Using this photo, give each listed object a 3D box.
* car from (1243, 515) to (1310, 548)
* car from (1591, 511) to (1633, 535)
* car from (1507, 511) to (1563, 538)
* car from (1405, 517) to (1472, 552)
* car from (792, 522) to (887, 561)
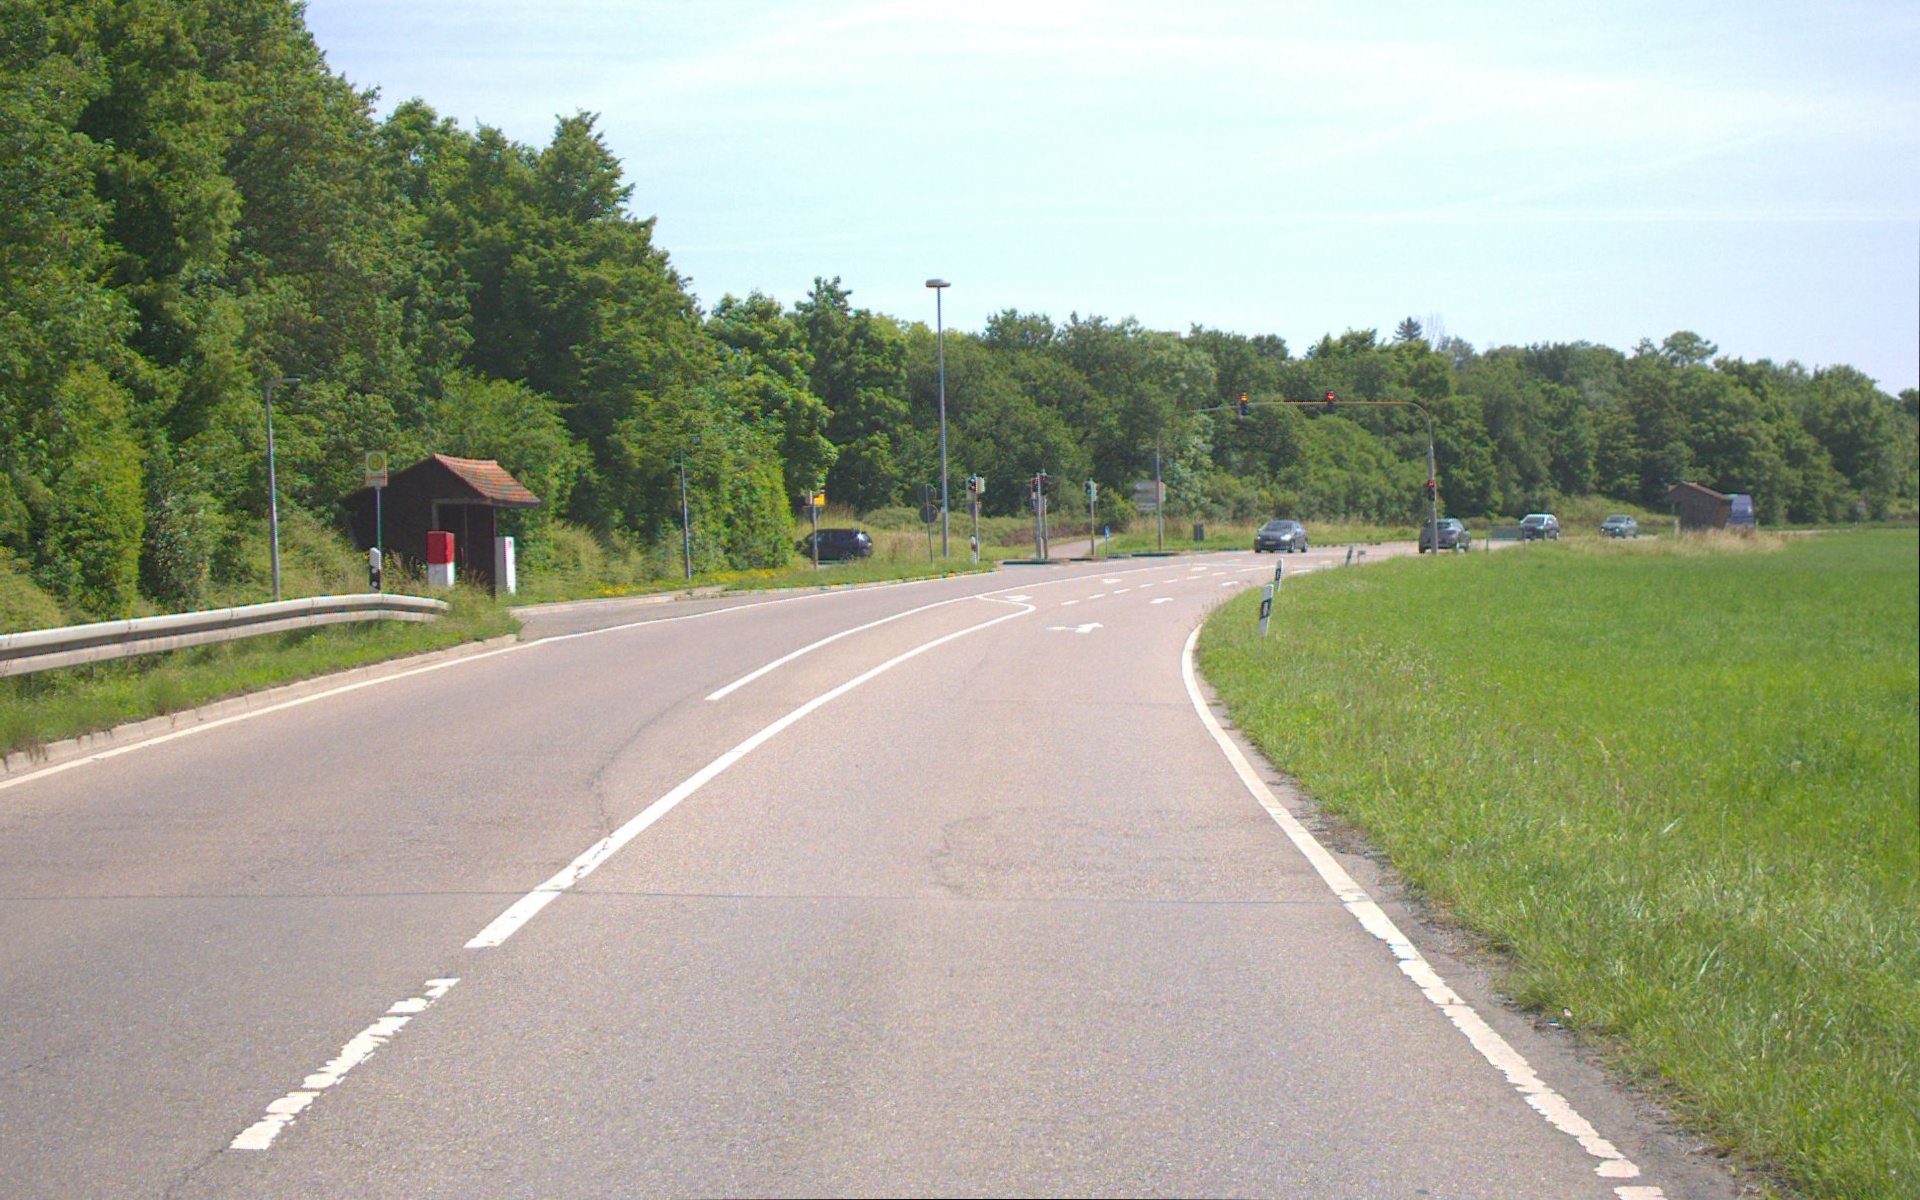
[{"bbox_3d":[14.562,-3.148,158.055,1.793,1.469,4.305,1,1,23],"label":"car"},{"bbox_3d":[42.129,-4.968,222.233,1.709,1.478,3.827,1,1,26],"label":"car"},{"bbox_3d":[34.256,-4.467,204.724,1.977,1.557,4.182,1,1,30],"label":"car"},{"bbox_3d":[21.979,-3.009,157.667,1.996,1.568,3.995,1,1,24],"label":"car"},{"bbox_3d":[-5.557,-2.690,158.540,3.995,1.787,1.996,1,1,36],"label":"car"}]
